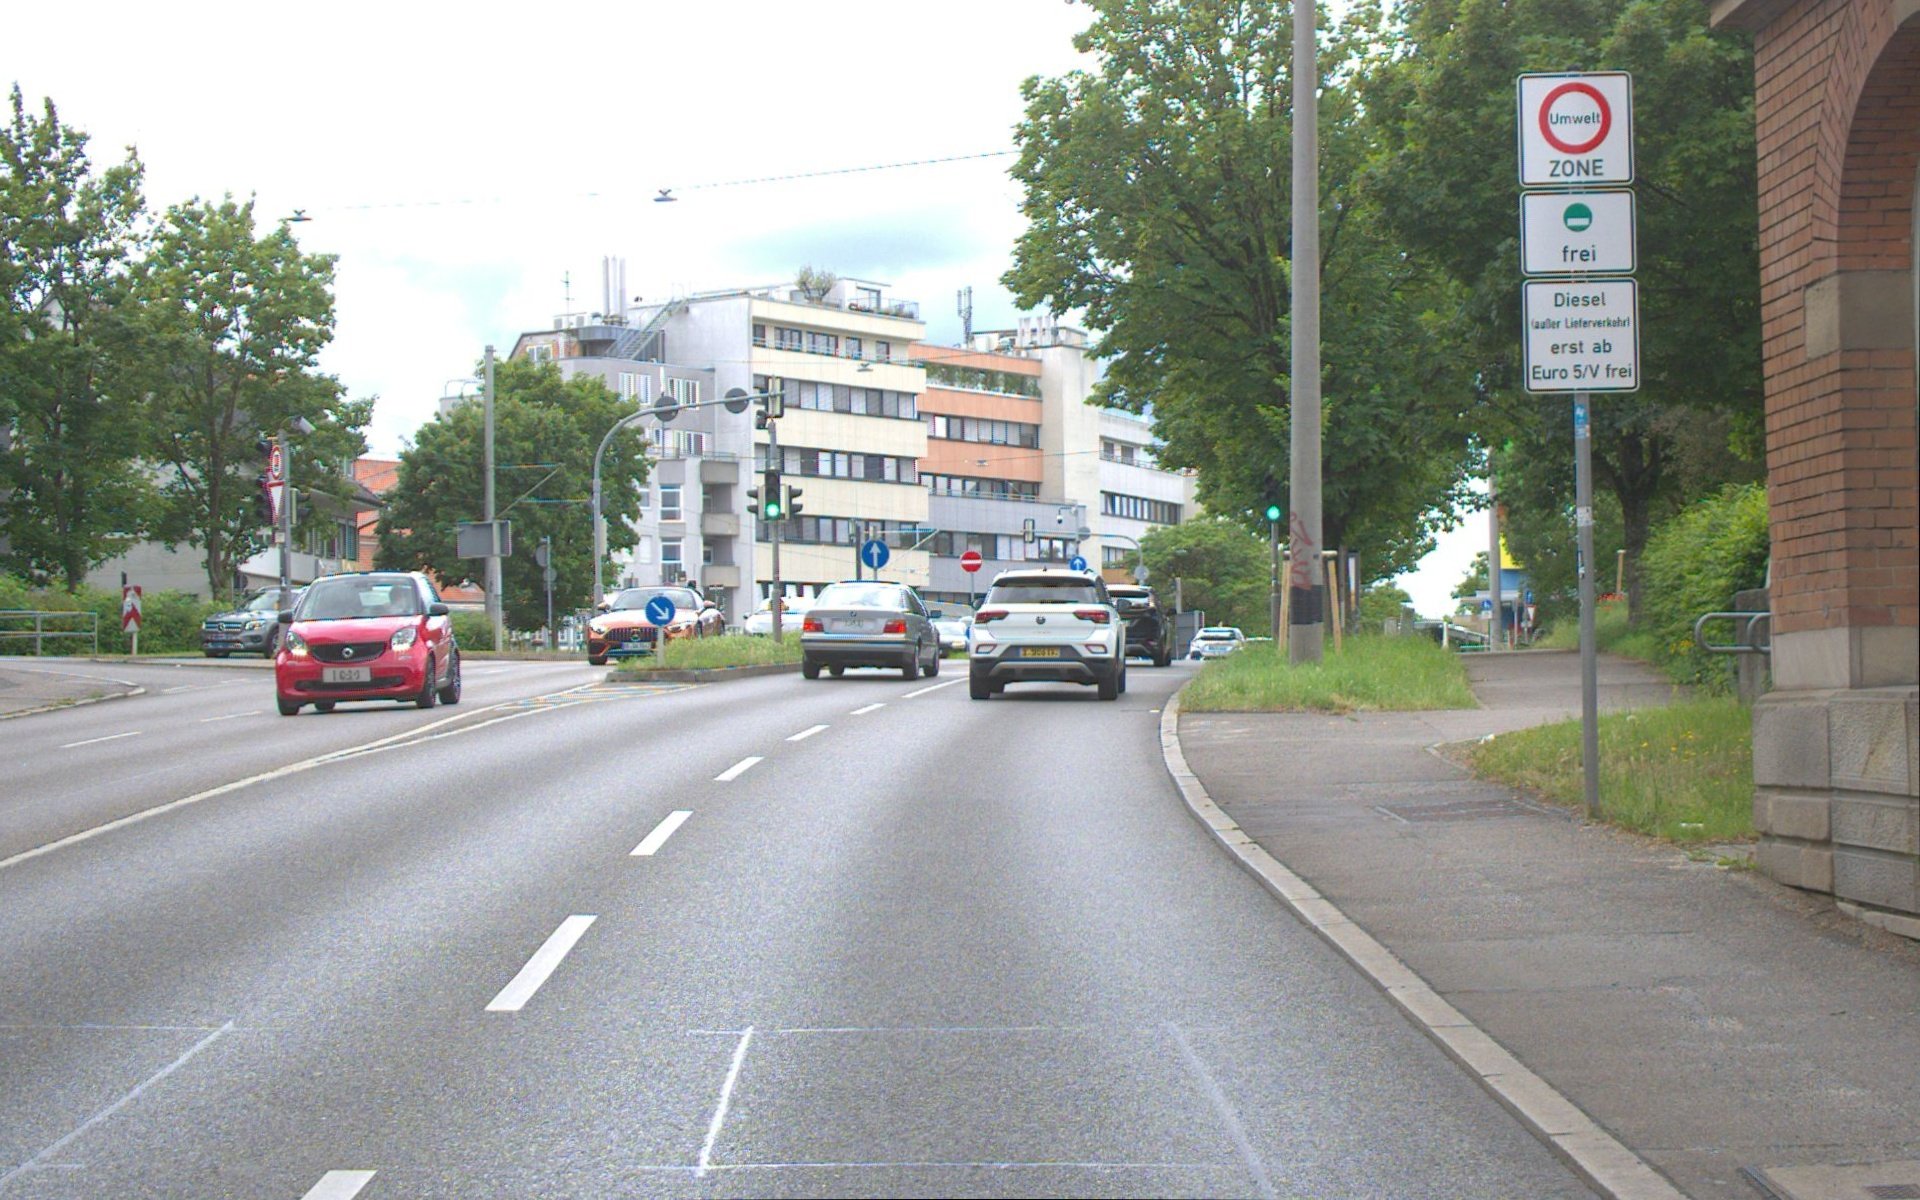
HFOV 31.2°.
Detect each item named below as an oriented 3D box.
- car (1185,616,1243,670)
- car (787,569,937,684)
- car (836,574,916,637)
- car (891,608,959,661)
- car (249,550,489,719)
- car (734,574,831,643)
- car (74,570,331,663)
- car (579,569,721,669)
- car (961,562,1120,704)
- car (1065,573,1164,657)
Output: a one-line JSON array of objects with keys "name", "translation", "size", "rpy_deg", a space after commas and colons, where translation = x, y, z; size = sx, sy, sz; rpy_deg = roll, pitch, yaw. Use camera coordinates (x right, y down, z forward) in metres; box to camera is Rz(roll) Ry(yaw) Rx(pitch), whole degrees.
[{"name": "car", "translation": [7.953, 1.337, 107.938], "size": [1.770, 1.565, 4.284], "rpy_deg": [-1, 1, 4]}, {"name": "car", "translation": [-1.371, 0.355, 49.401], "size": [1.700, 1.511, 3.735], "rpy_deg": [0, 2, 5]}, {"name": "car", "translation": [-2.140, 0.113, 88.300], "size": [1.777, 1.560, 4.000], "rpy_deg": [-1, 0, 2]}, {"name": "car", "translation": [-1.018, 1.022, 103.081], "size": [1.777, 1.476, 4.481], "rpy_deg": [-1, 0, 2]}, {"name": "car", "translation": [-6.572, 0.331, 38.658], "size": [1.869, 1.696, 4.429], "rpy_deg": [-3, 1, 0]}, {"name": "car", "translation": [-3.917, 0.163, 76.424], "size": [1.777, 1.476, 3.980], "rpy_deg": [-1, 0, 2]}, {"name": "car", "translation": [-12.965, 0.262, 58.993], "size": [1.780, 1.539, 3.990], "rpy_deg": [0, 0, 44]}, {"name": "car", "translation": [-5.423, 0.304, 60.602], "size": [1.770, 1.565, 4.284], "rpy_deg": [-3, 1, 4]}, {"name": "car", "translation": [1.026, 0.361, 42.177], "size": [1.700, 1.543, 3.736], "rpy_deg": [3, 2, 4]}, {"name": "car", "translation": [2.836, 0.282, 63.651], "size": [1.700, 1.511, 3.493], "rpy_deg": [0, -1, 0]}]
